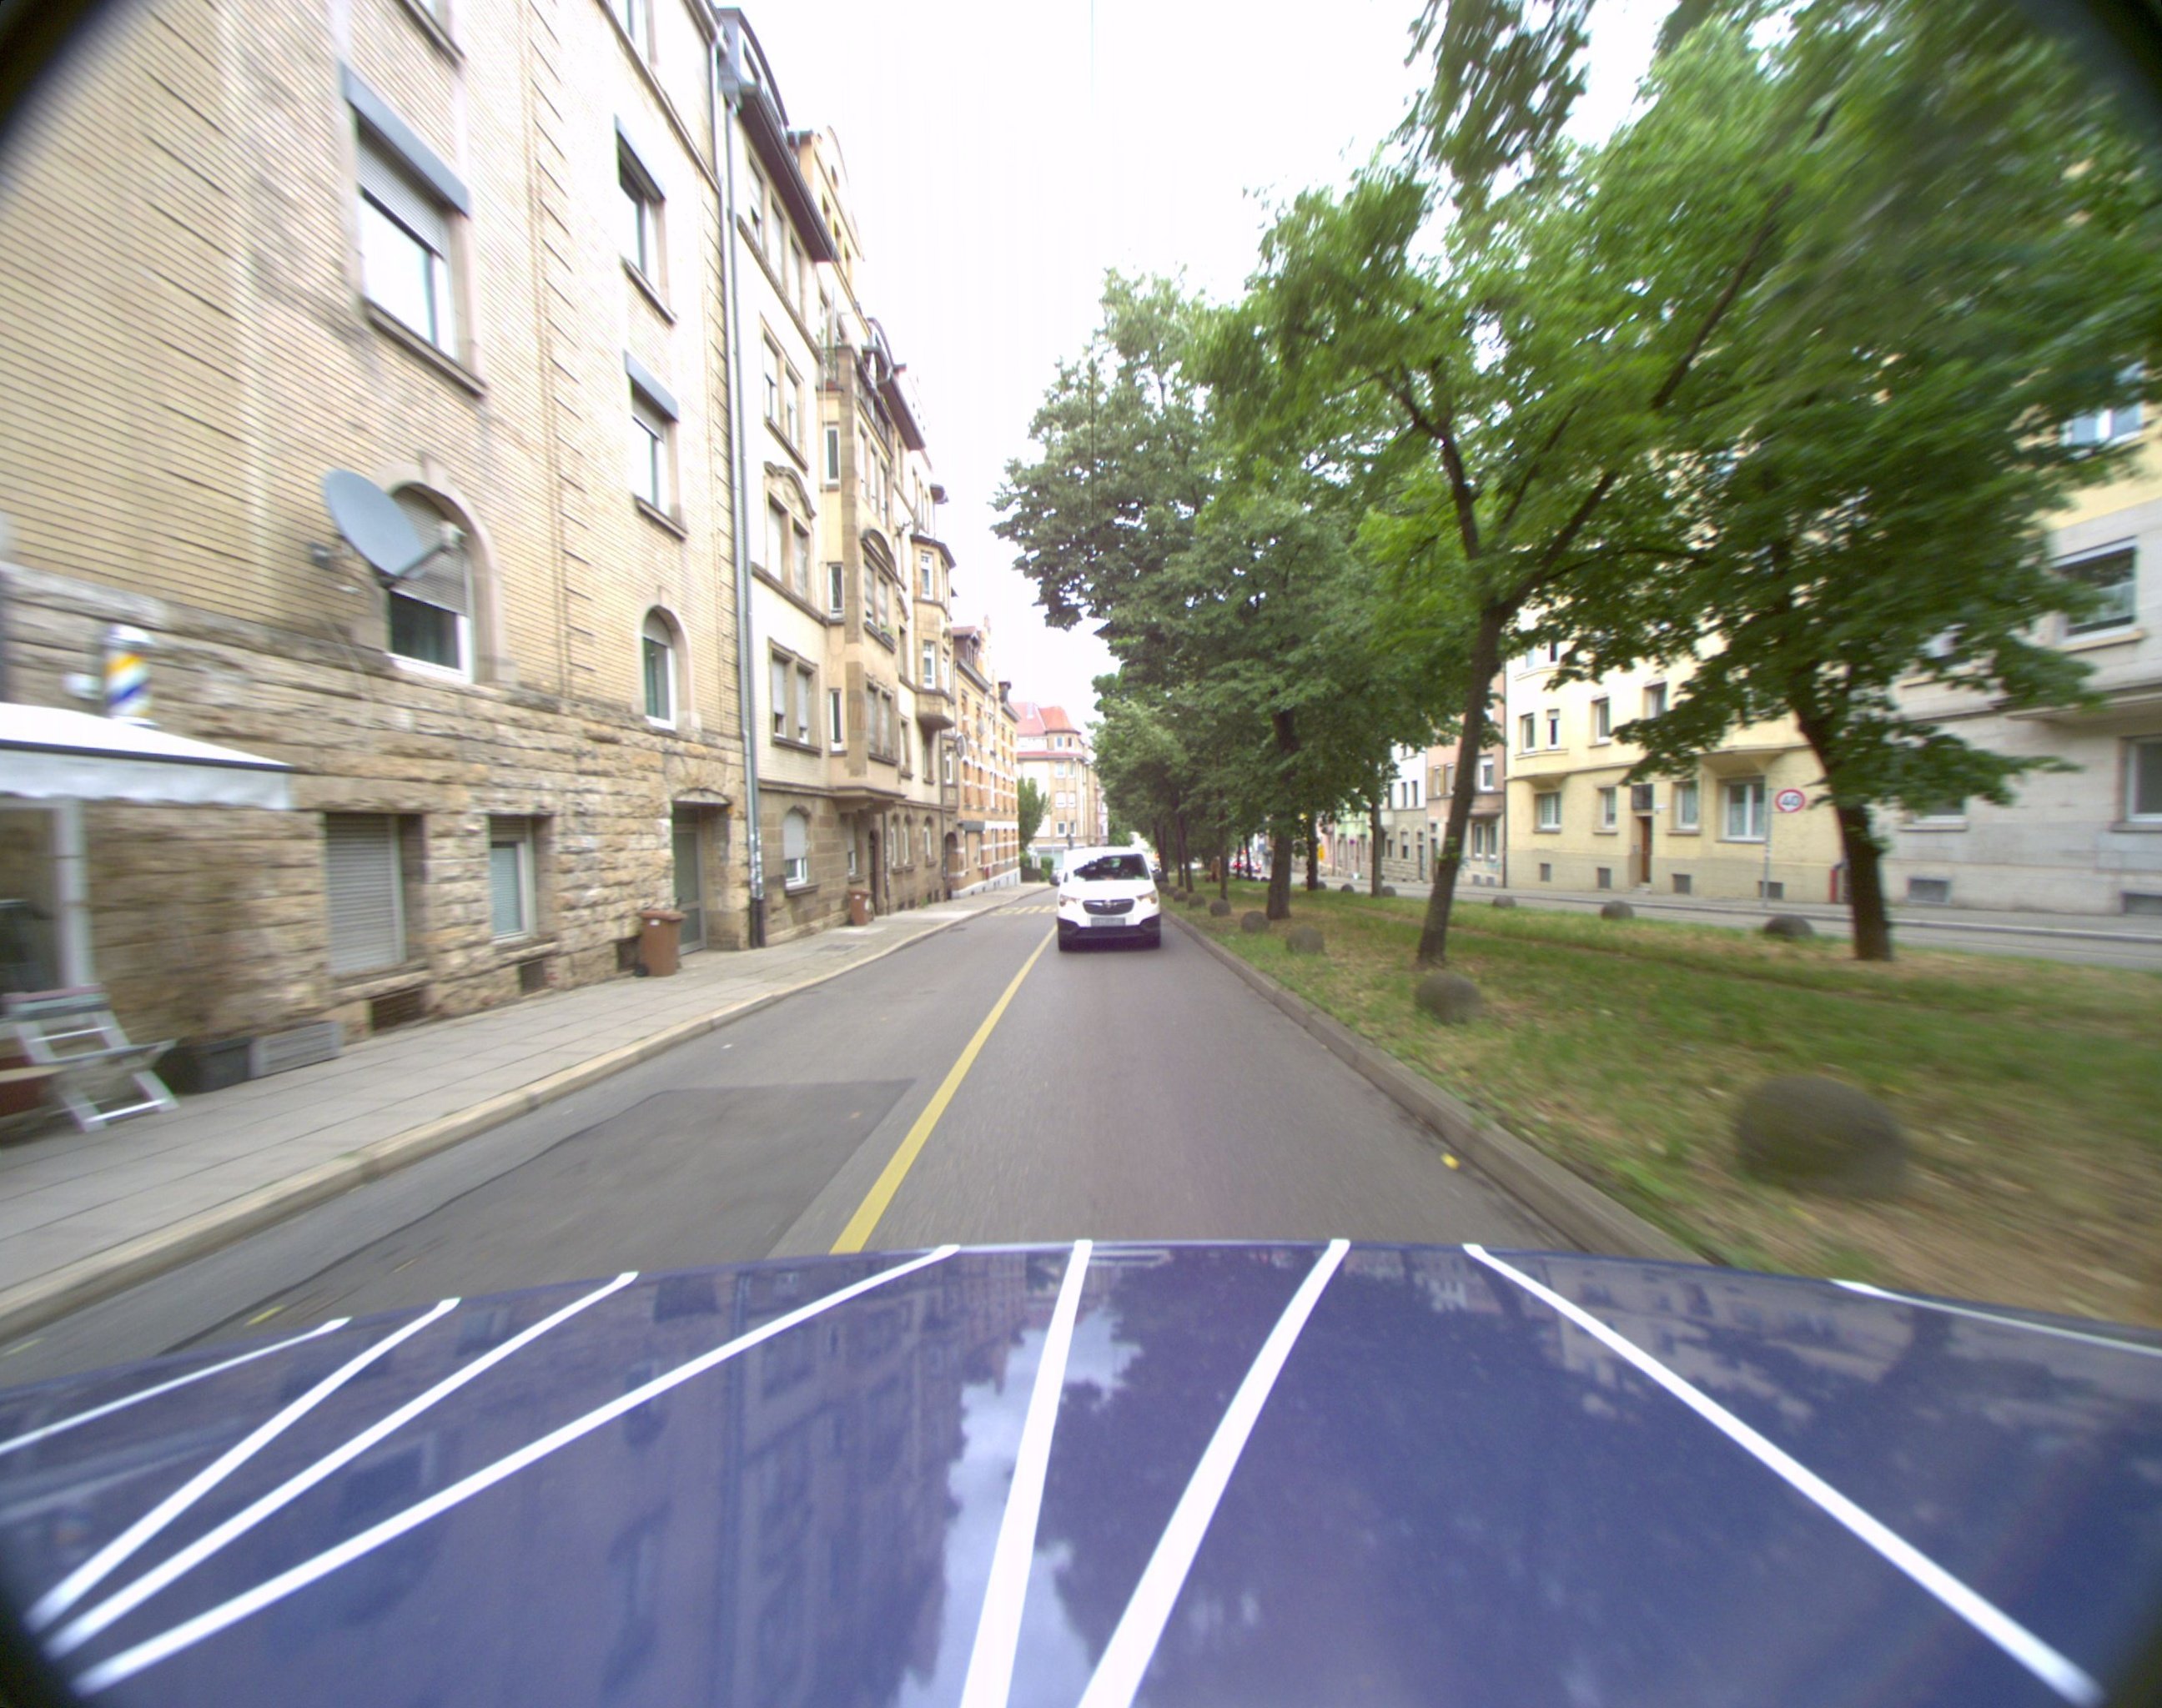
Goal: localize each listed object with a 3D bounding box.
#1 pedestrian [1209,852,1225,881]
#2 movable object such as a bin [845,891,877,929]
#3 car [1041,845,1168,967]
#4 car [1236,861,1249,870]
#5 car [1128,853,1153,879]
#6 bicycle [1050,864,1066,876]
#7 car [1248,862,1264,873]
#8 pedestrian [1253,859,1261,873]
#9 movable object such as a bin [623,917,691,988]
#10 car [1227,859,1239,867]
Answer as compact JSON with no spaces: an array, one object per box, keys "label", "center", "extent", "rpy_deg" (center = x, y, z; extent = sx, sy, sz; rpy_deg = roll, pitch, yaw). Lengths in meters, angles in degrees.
[{"label":"pedestrian","center":[8.354,0.740,46.762],"extent":[0.835,1.702,1.123],"rpy_deg":[2,2,7]},{"label":"movable object such as a bin","center":[-5.586,1.414,19.284],"extent":[0.595,0.899,0.563],"rpy_deg":[-2,0,2]},{"label":"car","center":[0.523,0.817,13.742],"extent":[1.857,1.798,4.731],"rpy_deg":[-1,-1,4]},{"label":"car","center":[25.625,1.844,120.475],"extent":[1.712,1.374,4.672],"rpy_deg":[0,-1,8]},{"label":"car","center":[5.019,0.995,63.709],"extent":[1.962,1.937,3.957],"rpy_deg":[-2,1,5]},{"label":"bicycle","center":[-2.507,1.688,82.842],"extent":[0.642,1.134,2.069],"rpy_deg":[-5,6,-36]},{"label":"car","center":[23.401,1.827,101.845],"extent":[1.761,1.374,4.672],"rpy_deg":[0,-1,8]},{"label":"pedestrian","center":[18.791,1.276,81.239],"extent":[0.700,1.451,0.704],"rpy_deg":[-2,-1,8]},{"label":"movable object such as a bin","center":[-5.961,1.383,10.710],"extent":[0.595,0.899,0.502],"rpy_deg":[-2,4,2]},{"label":"car","center":[28.094,1.724,140.297],"extent":[1.672,1.398,4.296],"rpy_deg":[0,-1,5]}]
